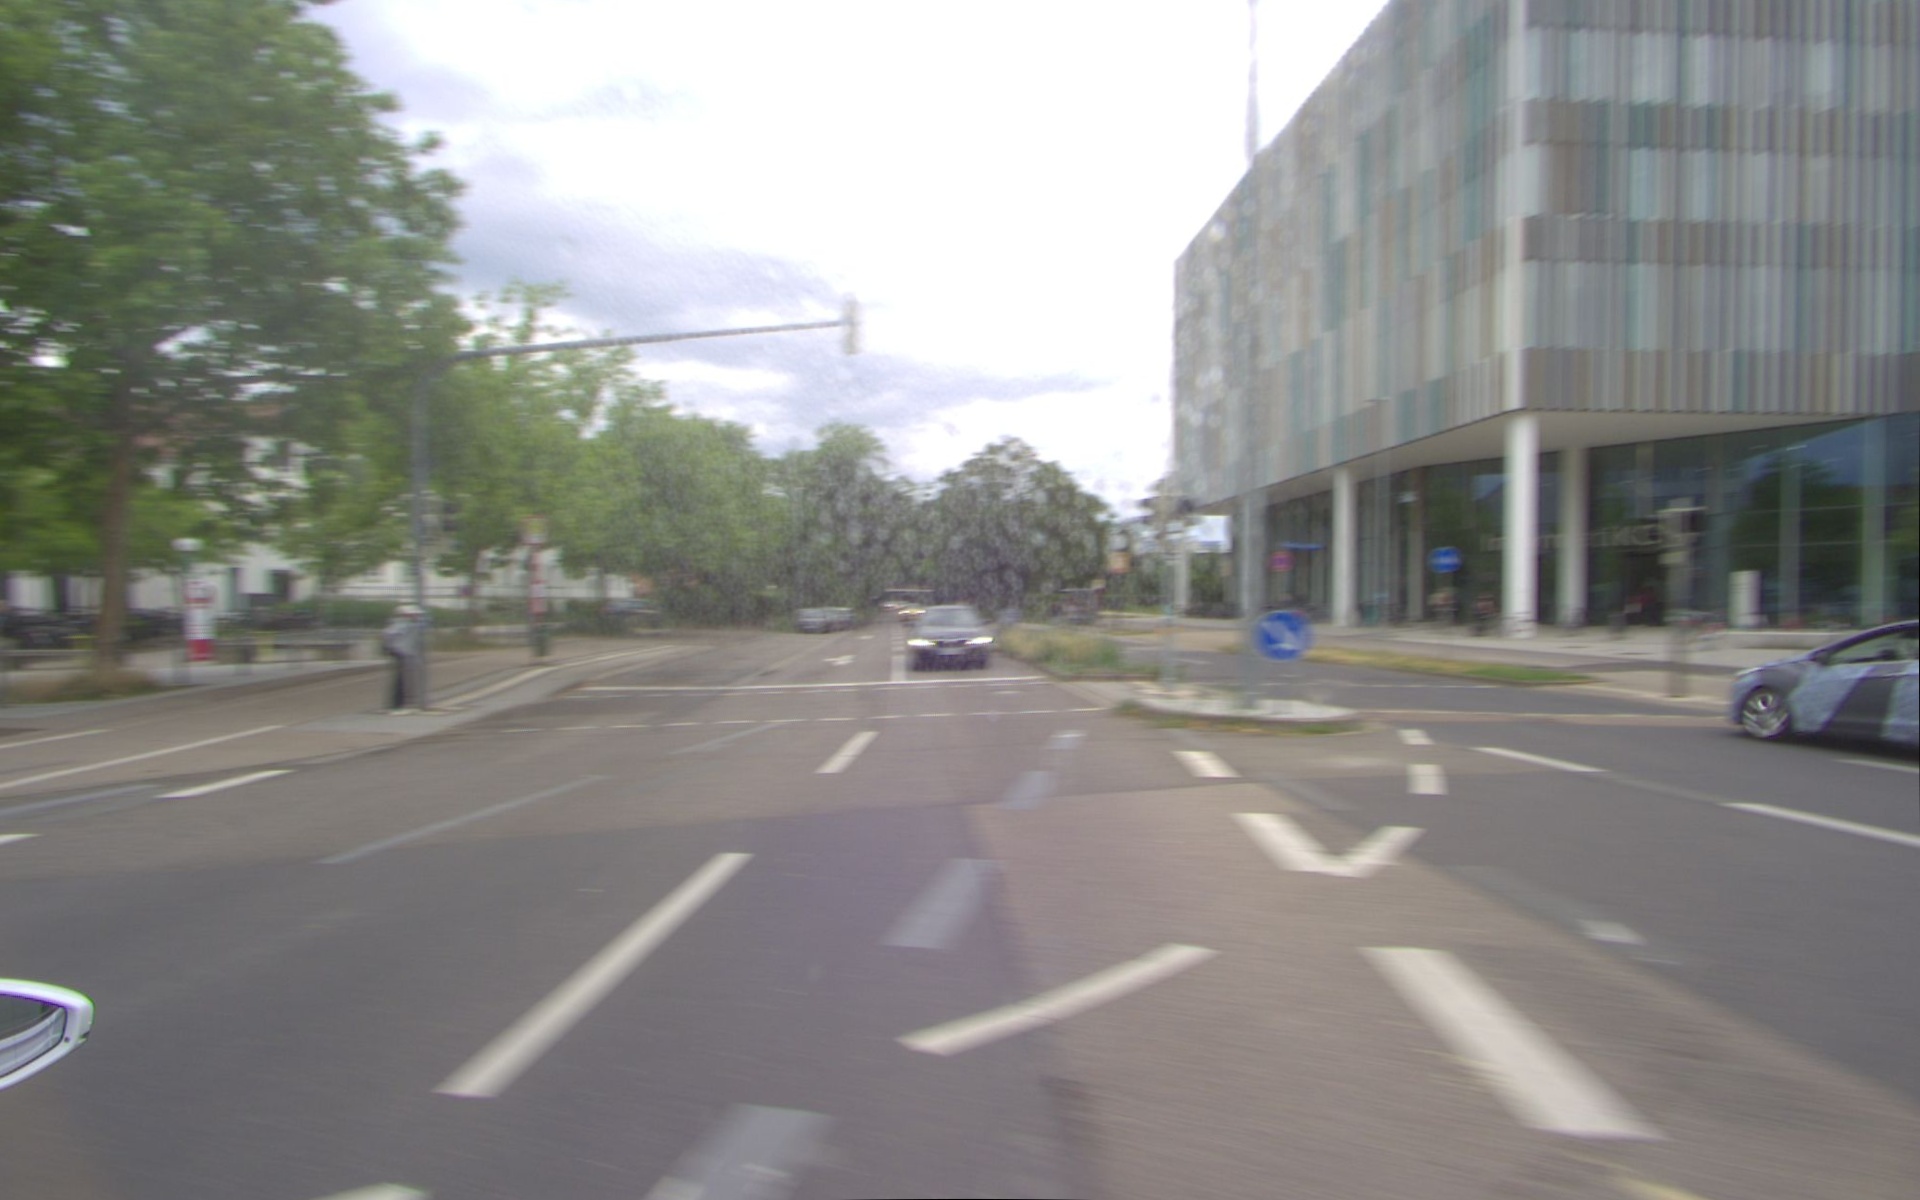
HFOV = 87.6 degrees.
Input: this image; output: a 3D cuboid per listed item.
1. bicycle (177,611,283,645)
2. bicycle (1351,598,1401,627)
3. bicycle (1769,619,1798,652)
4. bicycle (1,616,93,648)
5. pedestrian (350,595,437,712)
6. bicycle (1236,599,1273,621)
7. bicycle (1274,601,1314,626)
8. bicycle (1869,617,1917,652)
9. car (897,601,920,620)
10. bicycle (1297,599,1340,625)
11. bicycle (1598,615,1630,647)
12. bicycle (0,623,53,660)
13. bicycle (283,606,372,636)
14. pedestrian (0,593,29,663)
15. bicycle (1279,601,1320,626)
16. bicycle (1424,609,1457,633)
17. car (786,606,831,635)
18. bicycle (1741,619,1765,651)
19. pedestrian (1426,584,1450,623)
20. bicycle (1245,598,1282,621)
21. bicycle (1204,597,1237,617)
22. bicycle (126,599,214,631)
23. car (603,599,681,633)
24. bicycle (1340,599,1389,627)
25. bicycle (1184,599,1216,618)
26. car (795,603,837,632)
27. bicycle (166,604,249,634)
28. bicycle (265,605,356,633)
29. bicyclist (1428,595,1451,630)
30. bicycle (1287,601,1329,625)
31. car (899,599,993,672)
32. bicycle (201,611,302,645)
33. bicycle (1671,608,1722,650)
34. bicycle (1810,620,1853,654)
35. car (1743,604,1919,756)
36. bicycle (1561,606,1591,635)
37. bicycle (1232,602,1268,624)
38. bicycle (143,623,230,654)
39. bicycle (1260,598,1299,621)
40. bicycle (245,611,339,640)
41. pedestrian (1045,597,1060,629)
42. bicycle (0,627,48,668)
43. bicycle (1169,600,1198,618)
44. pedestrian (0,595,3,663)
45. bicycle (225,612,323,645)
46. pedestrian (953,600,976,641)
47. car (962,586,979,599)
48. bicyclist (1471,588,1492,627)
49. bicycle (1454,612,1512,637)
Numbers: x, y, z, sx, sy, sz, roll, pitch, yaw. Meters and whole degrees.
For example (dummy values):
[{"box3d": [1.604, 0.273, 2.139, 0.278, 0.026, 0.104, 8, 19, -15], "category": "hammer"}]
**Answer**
[{"box3d": [-28.471, 1.096, 39.101, 3.328, 1.185, 1.056, 3, -1, 2], "category": "bicycle"}, {"box3d": [19.740, 0.606, 47.502, 2.063, 1.275, 0.629, 3, -1, 1], "category": "bicycle"}, {"box3d": [25.219, 1.084, 30.672, 0.541, 0.948, 1.997, 0, 0, 35], "category": "bicycle"}, {"box3d": [-38.699, 1.352, 42.462, 3.048, 1.185, 0.748, 3, -1, -3], "category": "bicycle"}, {"box3d": [-8.430, 0.767, 14.920, 0.778, 1.649, 0.757, 4, 2, 9], "category": "pedestrian"}, {"box3d": [18.221, 0.625, 61.898, 2.064, 1.275, 0.628, 3, -1, -6], "category": "bicycle"}, {"box3d": [19.067, 0.773, 57.173, 2.064, 1.275, 0.628, 3, -1, -6], "category": "bicycle"}, {"box3d": [26.723, 0.979, 28.699, 0.476, 0.948, 2.002, 0, 0, 27], "category": "bicycle"}, {"box3d": [-4.454, 0.915, 87.360, 1.961, 1.639, 4.194, 0, -1, -3], "category": "car"}, {"box3d": [19.395, 0.645, 54.259, 2.063, 1.275, 0.629, 3, -1, 1], "category": "bicycle"}, {"box3d": [22.352, 1.039, 34.217, 1.897, 1.059, 0.479, 0, 0, -44], "category": "bicycle"}, {"box3d": [-32.985, 1.378, 34.269, 3.048, 1.185, 0.748, 3, -1, -2], "category": "bicycle"}, {"box3d": [-28.480, 0.931, 45.096, 3.328, 1.185, 1.056, 3, -1, 2], "category": "bicycle"}, {"box3d": [-24.033, 0.707, 25.207, 0.645, 1.738, 0.585, 0, 0, 2], "category": "pedestrian"}, {"box3d": [19.168, 0.754, 56.514, 2.064, 1.275, 0.628, 3, -1, -6], "category": "bicycle"}, {"box3d": [19.382, 0.825, 40.444, 0.607, 0.938, 1.916, 0, 0, 7], "category": "bicycle"}, {"box3d": [-8.346, 1.120, 55.445, 1.961, 1.531, 4.000, 0, -1, -1], "category": "car"}, {"box3d": [24.671, 1.076, 31.157, 0.477, 0.948, 1.997, 0, 0, 35], "category": "bicycle"}, {"box3d": [22.666, 0.166, 47.495, 0.786, 1.812, 0.762, 0, 1, -3], "category": "pedestrian"}, {"box3d": [18.478, 0.606, 61.022, 2.064, 1.275, 0.628, 3, -1, -6], "category": "bicycle"}, {"box3d": [17.895, 0.501, 68.851, 2.064, 1.275, 0.628, 3, -1, -6], "category": "bicycle"}, {"box3d": [-33.579, 0.638, 42.588, 3.048, 1.185, 0.748, 3, -1, -2], "category": "bicycle"}, {"box3d": [-17.494, 0.868, 55.039, 3.997, 1.776, 1.994, 0, 0, -21], "category": "car"}, {"box3d": [19.668, 0.646, 48.717, 2.063, 1.275, 0.629, 3, -1, 1], "category": "bicycle"}, {"box3d": [17.373, 0.605, 72.460, 2.064, 1.275, 0.628, 3, -1, -6], "category": "bicycle"}, {"box3d": [-8.537, 0.997, 59.571, 1.961, 1.639, 3.999, 0, 0, 0], "category": "car"}, {"box3d": [-33.756, 0.862, 44.960, 3.048, 1.185, 0.748, 3, -1, -2], "category": "bicycle"}, {"box3d": [-28.507, 0.842, 43.964, 3.328, 1.185, 1.056, 0, 0, 2], "category": "bicycle"}, {"box3d": [19.395, 0.488, 40.502, 0.607, 1.401, 0.718, 0, 1, 7], "category": "bicyclist"}, {"box3d": [19.323, 0.728, 55.567, 2.063, 1.275, 0.629, 3, -1, 1], "category": "bicycle"}, {"box3d": [-0.430, 0.784, 24.354, 1.961, 1.509, 4.290, -2, 0, -4], "category": "car"}, {"box3d": [-28.593, 1.138, 40.443, 3.328, 1.185, 1.056, 3, -1, 2], "category": "bicycle"}, {"box3d": [19.256, 0.736, 26.177, 1.759, 1.059, 0.481, 0, 1, -33], "category": "bicycle"}, {"box3d": [25.719, 1.075, 29.575, 0.476, 0.948, 2.002, 0, 0, 27], "category": "bicycle"}, {"box3d": [10.366, 0.820, 9.680, 1.962, 1.487, 4.226, 2, -1, -7], "category": "car"}, {"box3d": [22.920, 0.744, 37.238, 1.897, 1.059, 0.479, 0, 1, -44], "category": "bicycle"}, {"box3d": [18.133, 0.831, 62.589, 2.064, 1.275, 0.628, 3, -1, -6], "category": "bicycle"}, {"box3d": [-33.671, 1.679, 43.614, 3.048, 1.185, 0.748, 3, -1, -2], "category": "bicycle"}, {"box3d": [18.900, 0.563, 59.286, 2.064, 1.275, 0.628, 3, -1, -6], "category": "bicycle"}, {"box3d": [-28.546, 1.076, 42.832, 3.328, 1.185, 1.056, -1, 0, 2], "category": "bicycle"}, {"box3d": [5.429, 0.756, 58.855, 0.793, 1.834, 0.588, 0, 1, 0], "category": "pedestrian"}, {"box3d": [-25.534, 1.249, 26.682, 1.899, 1.063, 0.457, 1, 1, -9], "category": "bicycle"}, {"box3d": [17.017, 0.685, 76.281, 2.064, 1.275, 0.628, 3, -1, -6], "category": "bicycle"}, {"box3d": [-24.846, 0.746, 25.290, 0.665, 1.738, 0.673, 0, 1, 2], "category": "pedestrian"}, {"box3d": [-28.563, 1.185, 41.723, 3.328, 1.185, 1.056, 3, -1, 2], "category": "bicycle"}, {"box3d": [0.184, 0.900, 44.870, 0.704, 1.812, 0.890, 0, 0, -28], "category": "pedestrian"}, {"box3d": [1.430, -1.009, 137.148, 1.782, 1.639, 3.998, 1, -1, -8], "category": "car"}, {"box3d": [19.987, 0.298, 38.375, 0.594, 1.488, 0.483, 0, 1, 13], "category": "bicyclist"}, {"box3d": [20.104, 0.938, 38.550, 1.880, 0.938, 0.605, 0, 0, 12], "category": "bicycle"}]
